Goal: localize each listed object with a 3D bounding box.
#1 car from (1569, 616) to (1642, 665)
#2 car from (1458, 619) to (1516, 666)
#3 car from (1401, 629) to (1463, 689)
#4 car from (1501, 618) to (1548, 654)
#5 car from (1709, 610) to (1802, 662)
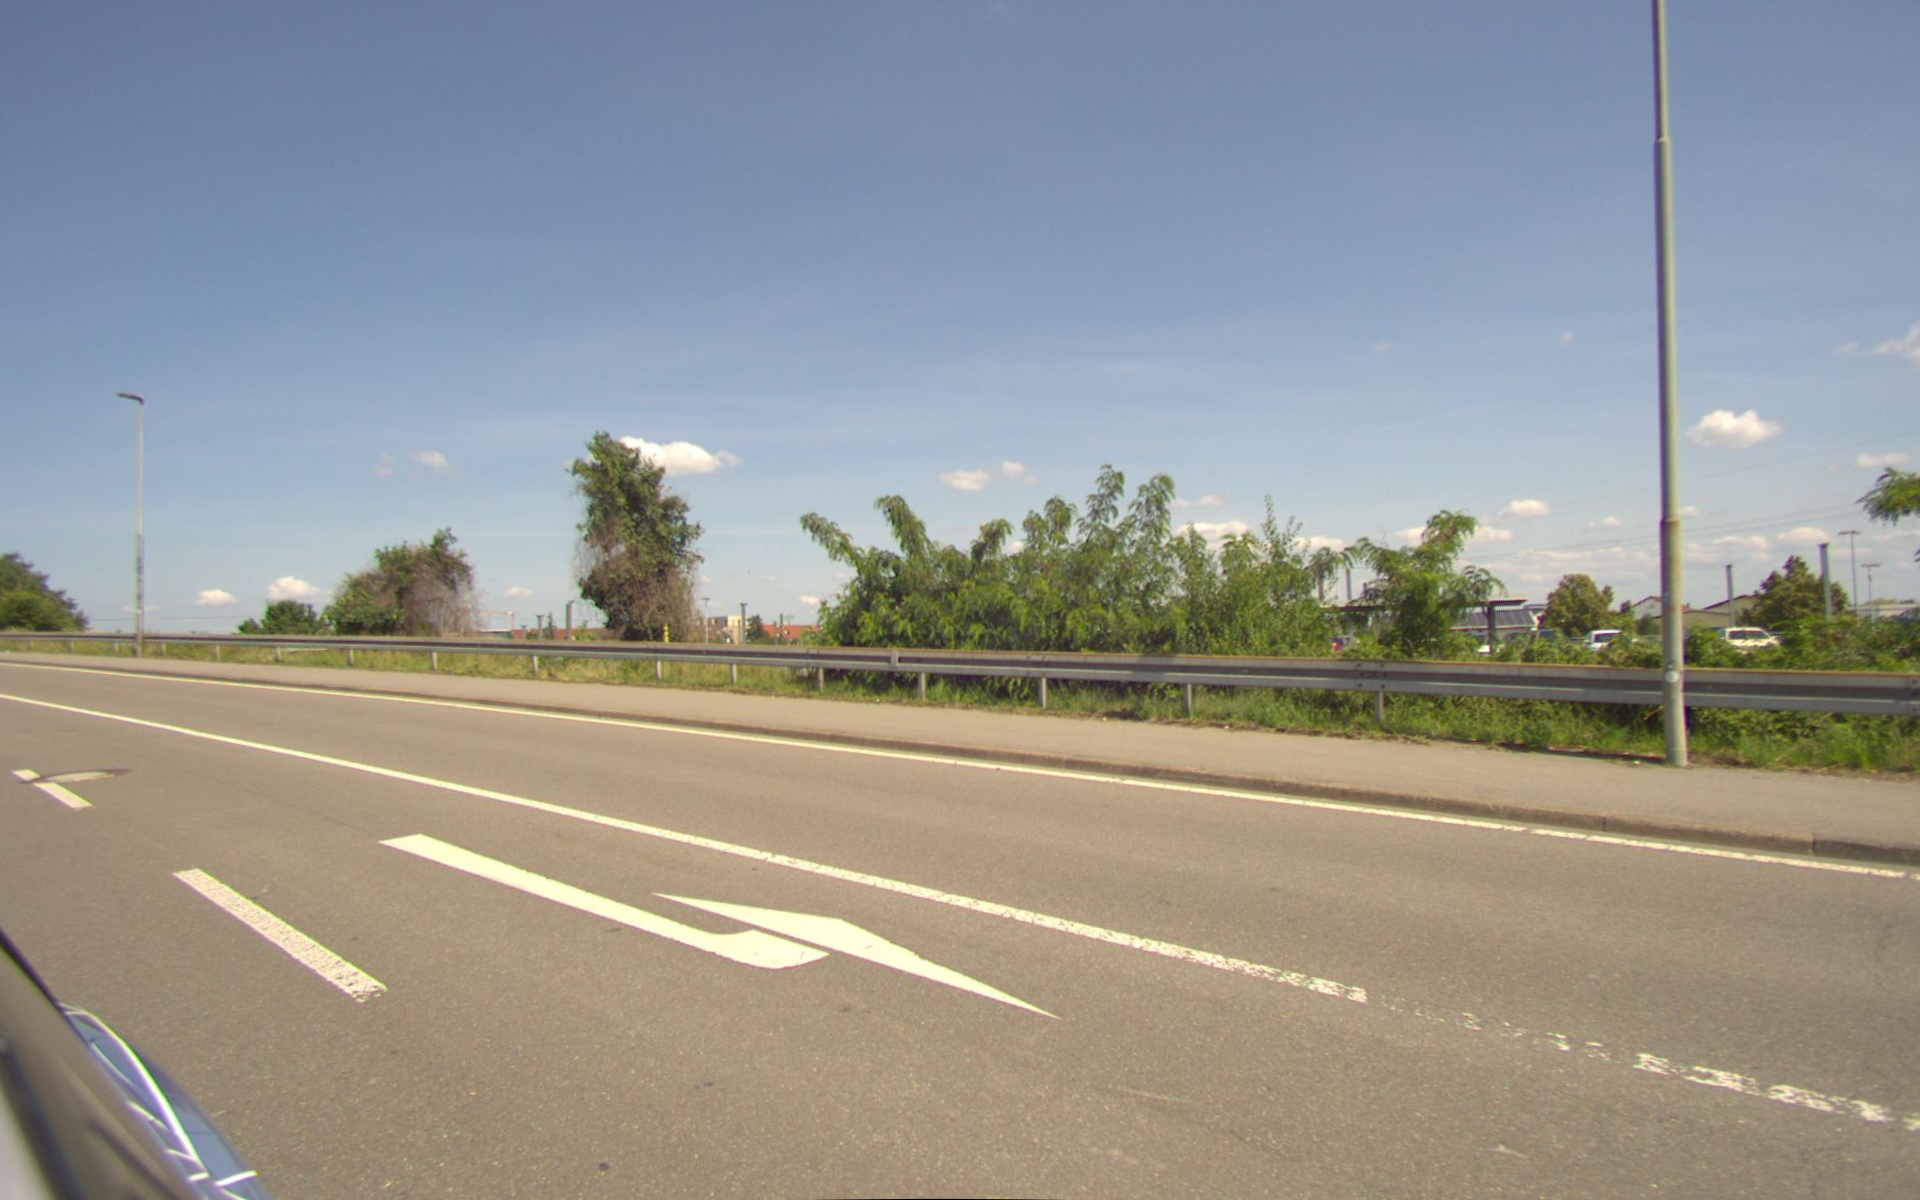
[{"bbox_3d":[29.194,1.810,45.904,1.987,2.029,3.969,-4,-3,23],"label":"car"},{"bbox_3d":[24.961,1.986,48.096,1.987,2.029,3.969,-4,-3,23],"label":"car"},{"bbox_3d":[18.133,2.239,39.005,1.949,2.029,3.968,-4,-2,24],"label":"car"},{"bbox_3d":[33.765,2.138,60.618,1.988,2.029,3.968,-1,-1,23],"label":"car"},{"bbox_3d":[33.787,1.525,43.130,1.987,2.029,3.969,-4,-3,23],"label":"car"}]
